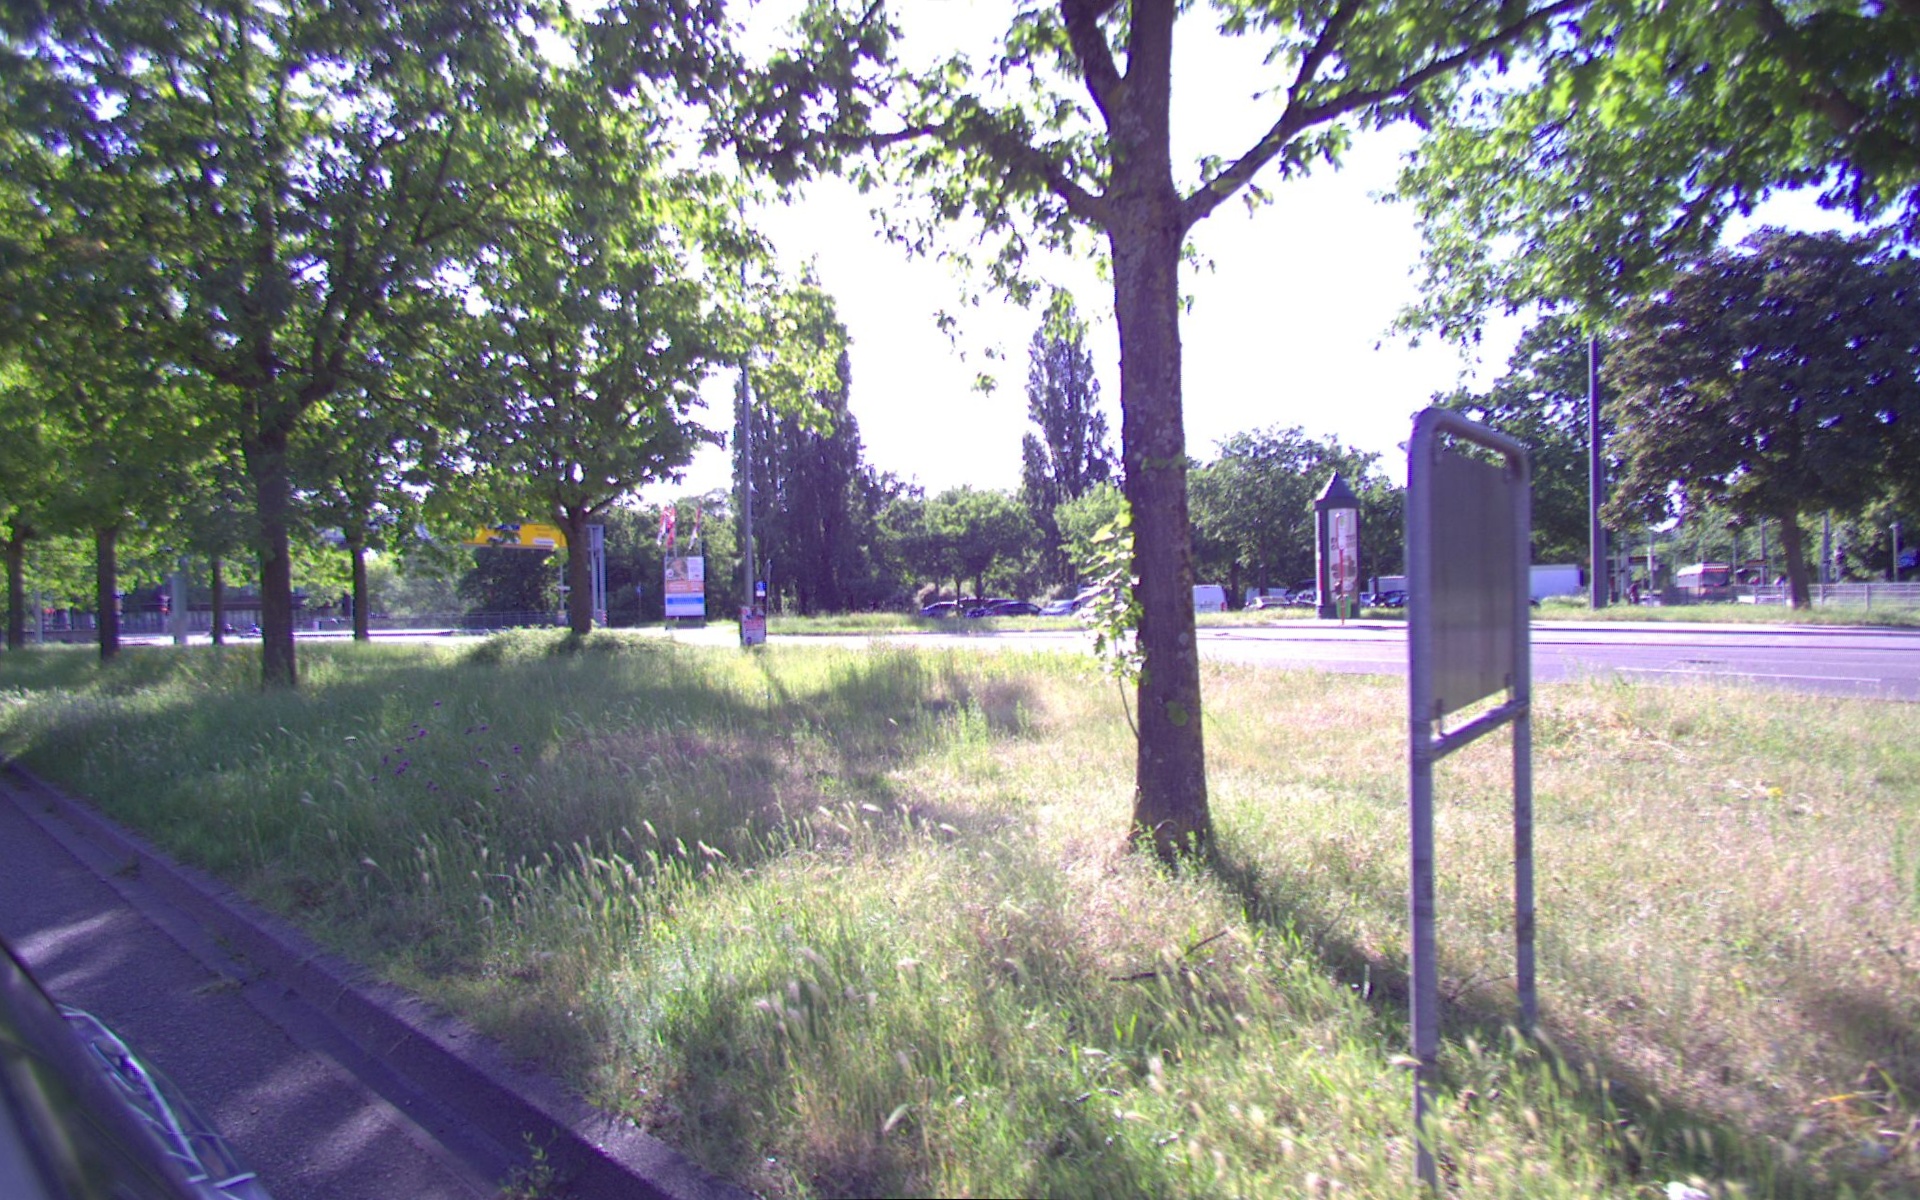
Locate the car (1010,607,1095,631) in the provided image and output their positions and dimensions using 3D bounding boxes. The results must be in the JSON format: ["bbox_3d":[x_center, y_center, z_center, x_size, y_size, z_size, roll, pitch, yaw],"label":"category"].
[{"bbox_3d":[4.790,1.003,52.583,3.988,1.137,1.802,-2,0,33],"label":"car"}]

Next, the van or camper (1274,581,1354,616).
[{"bbox_3d":[22.234,-0.063,63.705,1.967,2.112,4.413,-1,0,-34],"label":"van or camper"}]

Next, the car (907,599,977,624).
[{"bbox_3d":[-1.210,0.785,69.397,4.507,1.475,1.994,-1,1,10],"label":"car"}]

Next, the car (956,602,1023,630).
[{"bbox_3d":[1.610,0.892,55.961,1.791,1.459,4.012,-1,0,-31],"label":"car"}]

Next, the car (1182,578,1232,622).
[{"bbox_3d":[12.275,0.008,50.354,2.218,2.029,4.977,-2,0,14],"label":"car"}]

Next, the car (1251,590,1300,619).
[{"bbox_3d":[15.222,0.204,49.032,1.981,1.292,3.983,-2,0,14],"label":"car"}]

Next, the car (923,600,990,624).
[{"bbox_3d":[-0.236,0.856,72.905,4.507,1.475,1.994,-1,1,10],"label":"car"}]

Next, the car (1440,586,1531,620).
[{"bbox_3d":[26.818,0.147,51.702,3.983,1.579,1.980,-2,0,29],"label":"car"}]

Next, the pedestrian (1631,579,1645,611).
[{"bbox_3d":[40.190,-0.271,59.972,0.582,1.869,0.633,-2,0,29],"label":"pedestrian"}]

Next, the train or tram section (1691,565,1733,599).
[{"bbox_3d":[73.585,-1.810,99.255,2.464,2.962,19.612,-1,0,34],"label":"train or tram section"}]
